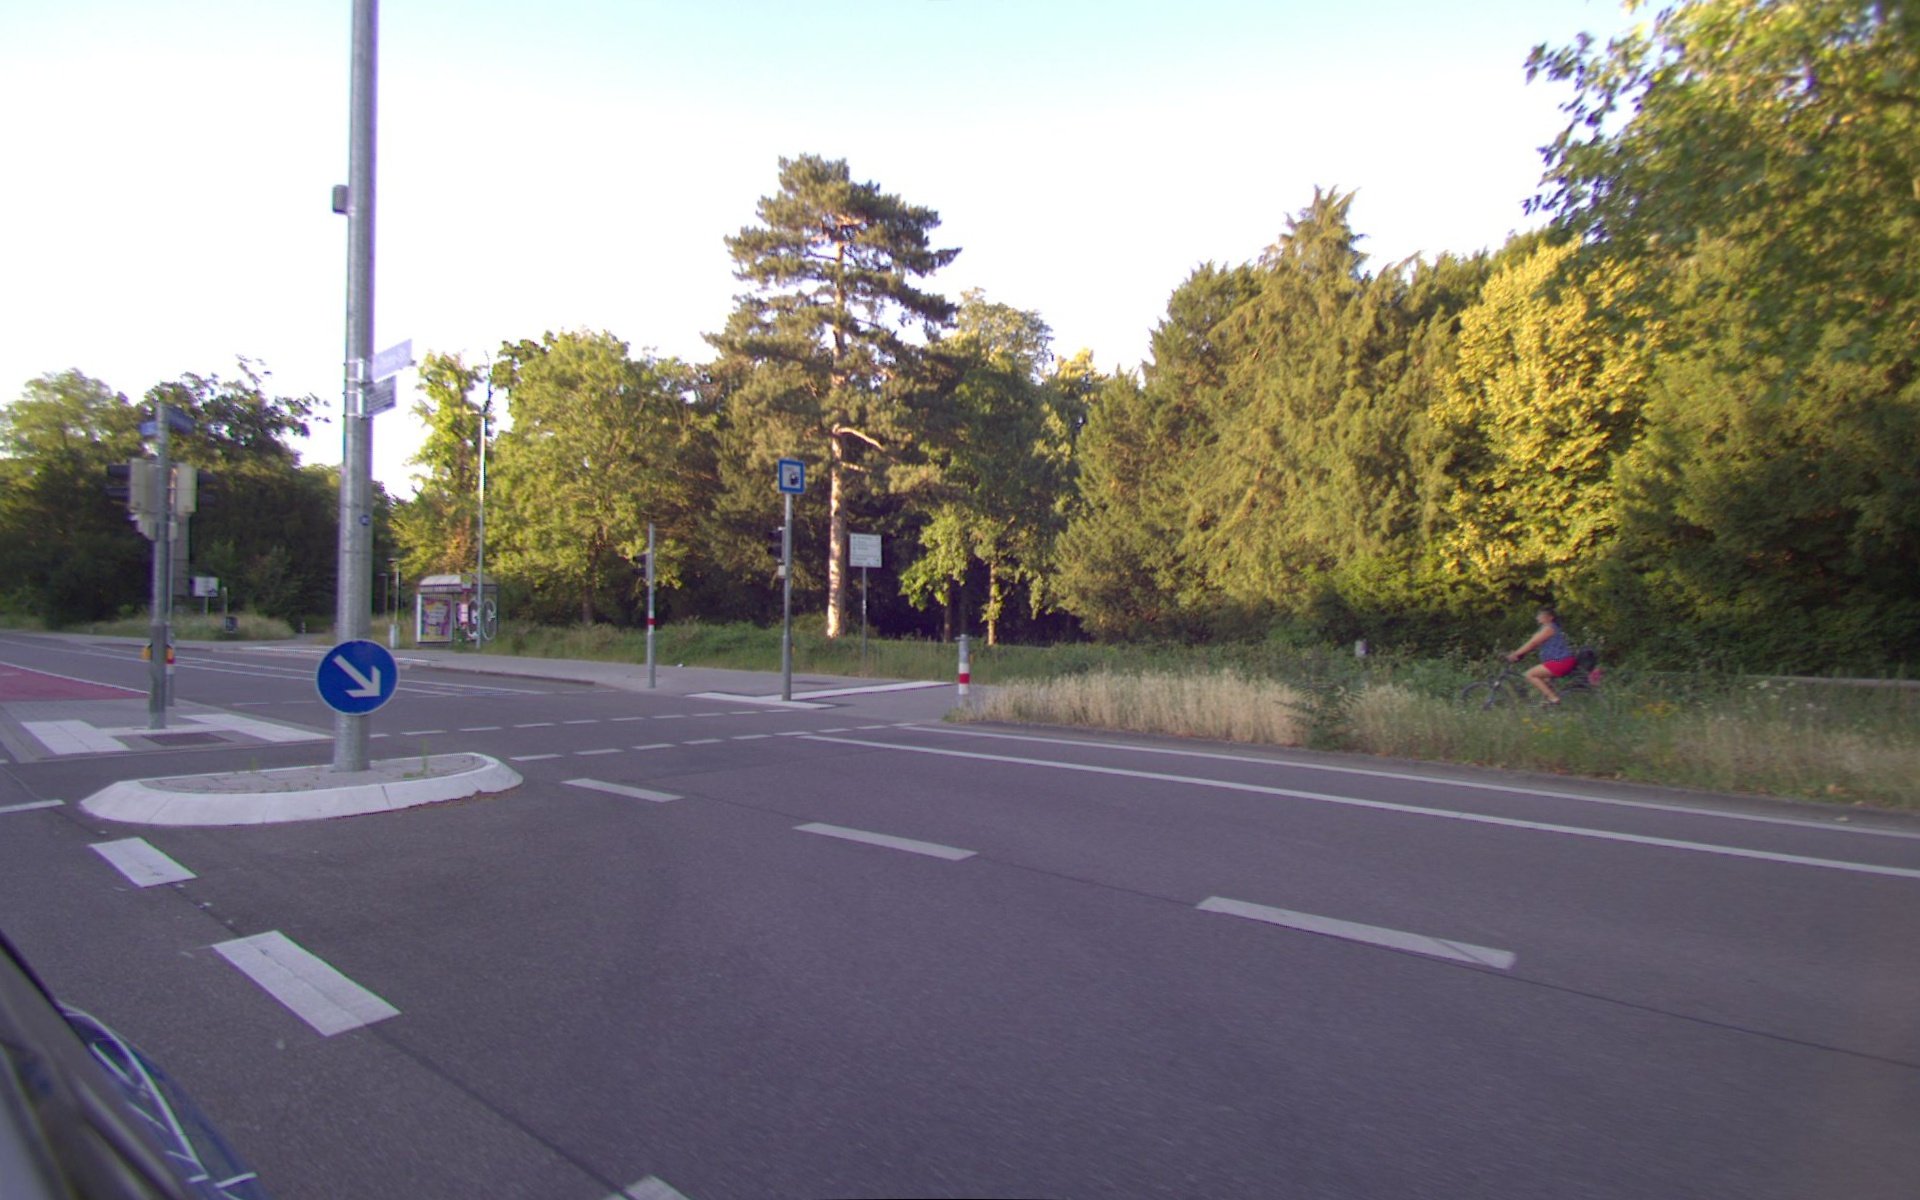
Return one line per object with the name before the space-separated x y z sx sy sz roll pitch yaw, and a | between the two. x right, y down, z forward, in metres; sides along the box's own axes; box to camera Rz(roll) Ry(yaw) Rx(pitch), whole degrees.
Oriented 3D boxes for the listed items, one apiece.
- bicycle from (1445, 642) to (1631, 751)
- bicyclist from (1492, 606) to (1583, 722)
bicycle | 7.479 1.200 13.155 1.979 1.266 0.781 -1 -1 41
bicyclist | 7.497 0.801 13.146 0.891 1.438 0.781 -1 -1 41
